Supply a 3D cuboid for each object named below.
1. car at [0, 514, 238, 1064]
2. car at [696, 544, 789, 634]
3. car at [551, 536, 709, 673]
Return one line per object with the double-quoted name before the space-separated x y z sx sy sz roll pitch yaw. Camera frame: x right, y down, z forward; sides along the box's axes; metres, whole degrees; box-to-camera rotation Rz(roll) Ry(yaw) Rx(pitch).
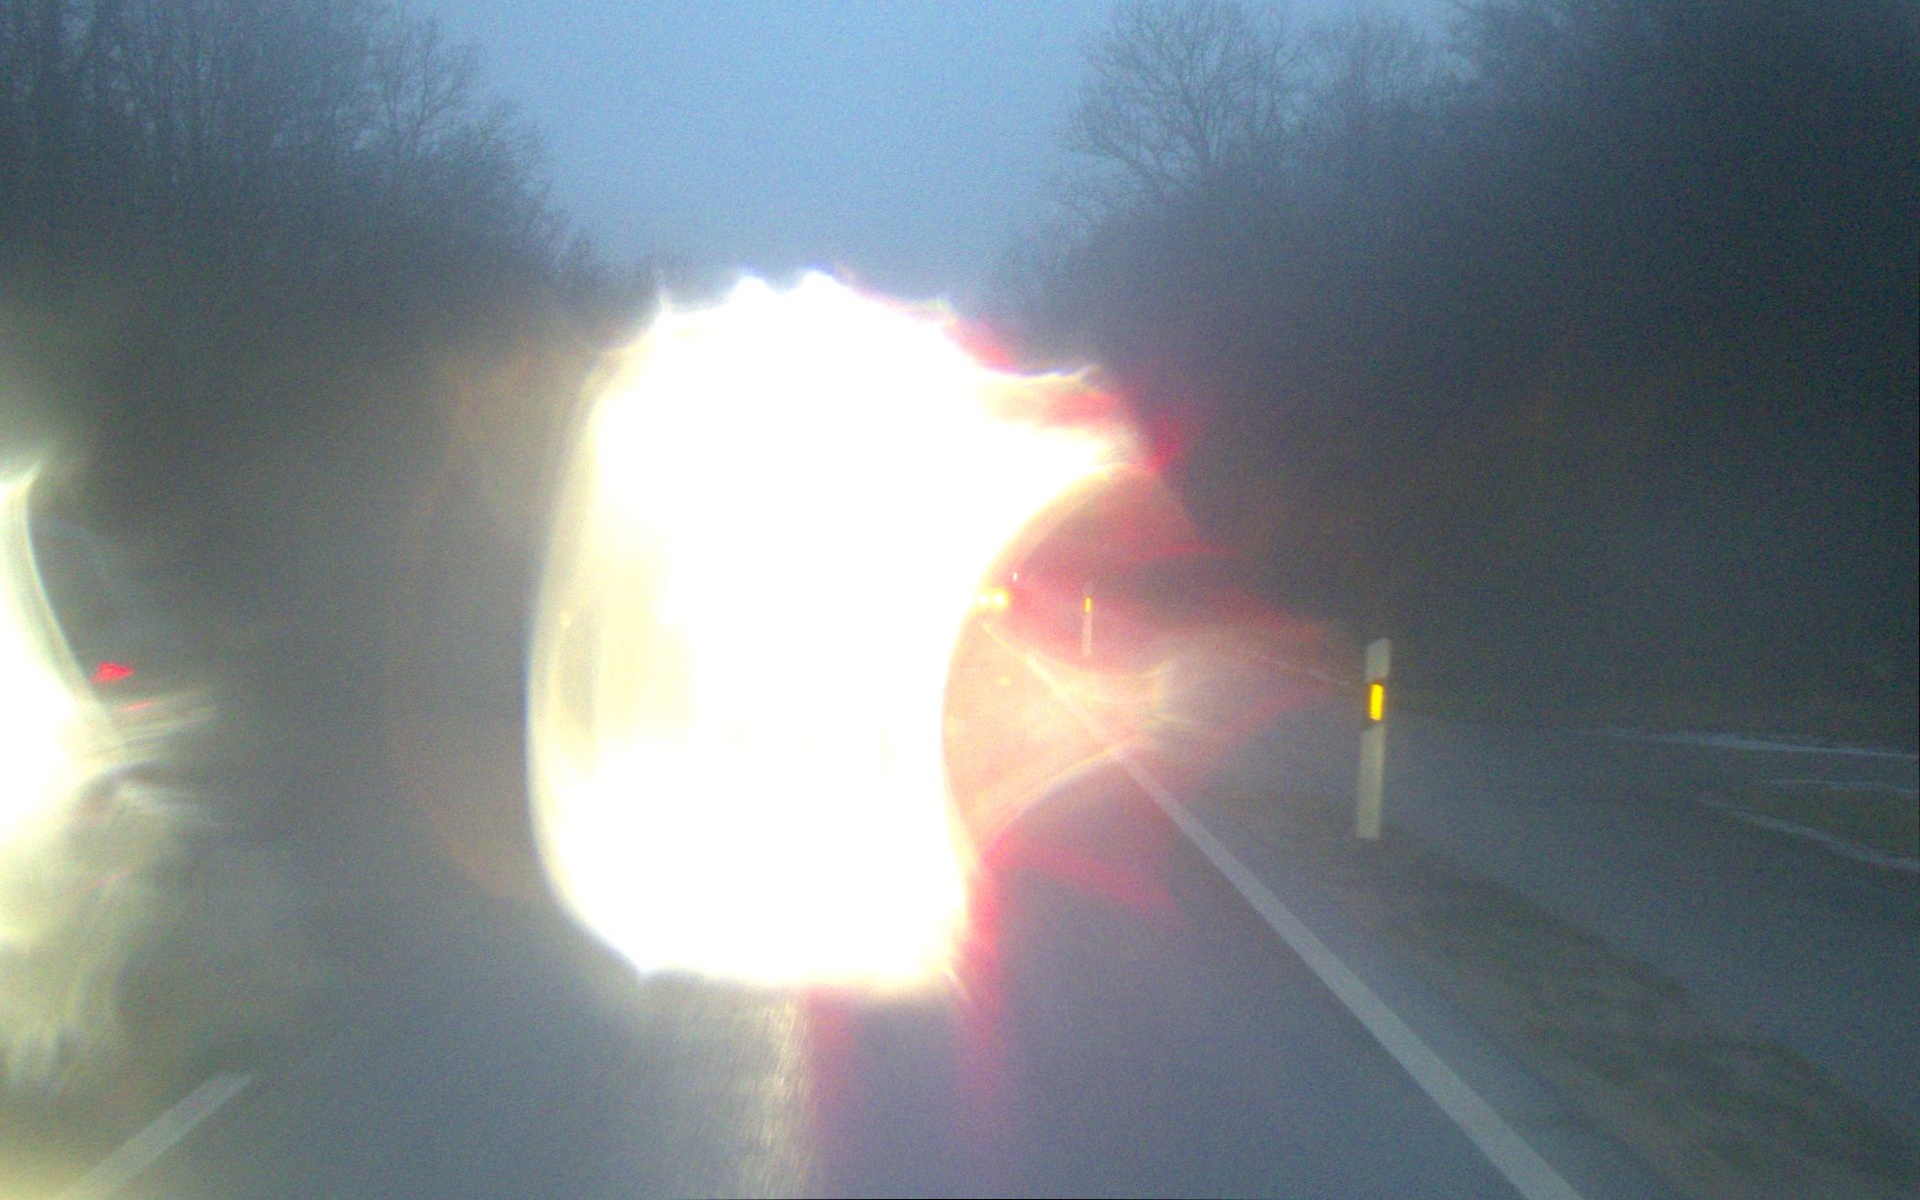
"car" -3.734 0.548 11.675 1.741 1.629 4.000 -1 1 -1
"car" -4.587 -0.254 73.076 1.706 1.816 4.286 -2 1 -1
"car" -4.003 0.034 42.216 1.581 1.545 4.000 -2 1 -1
